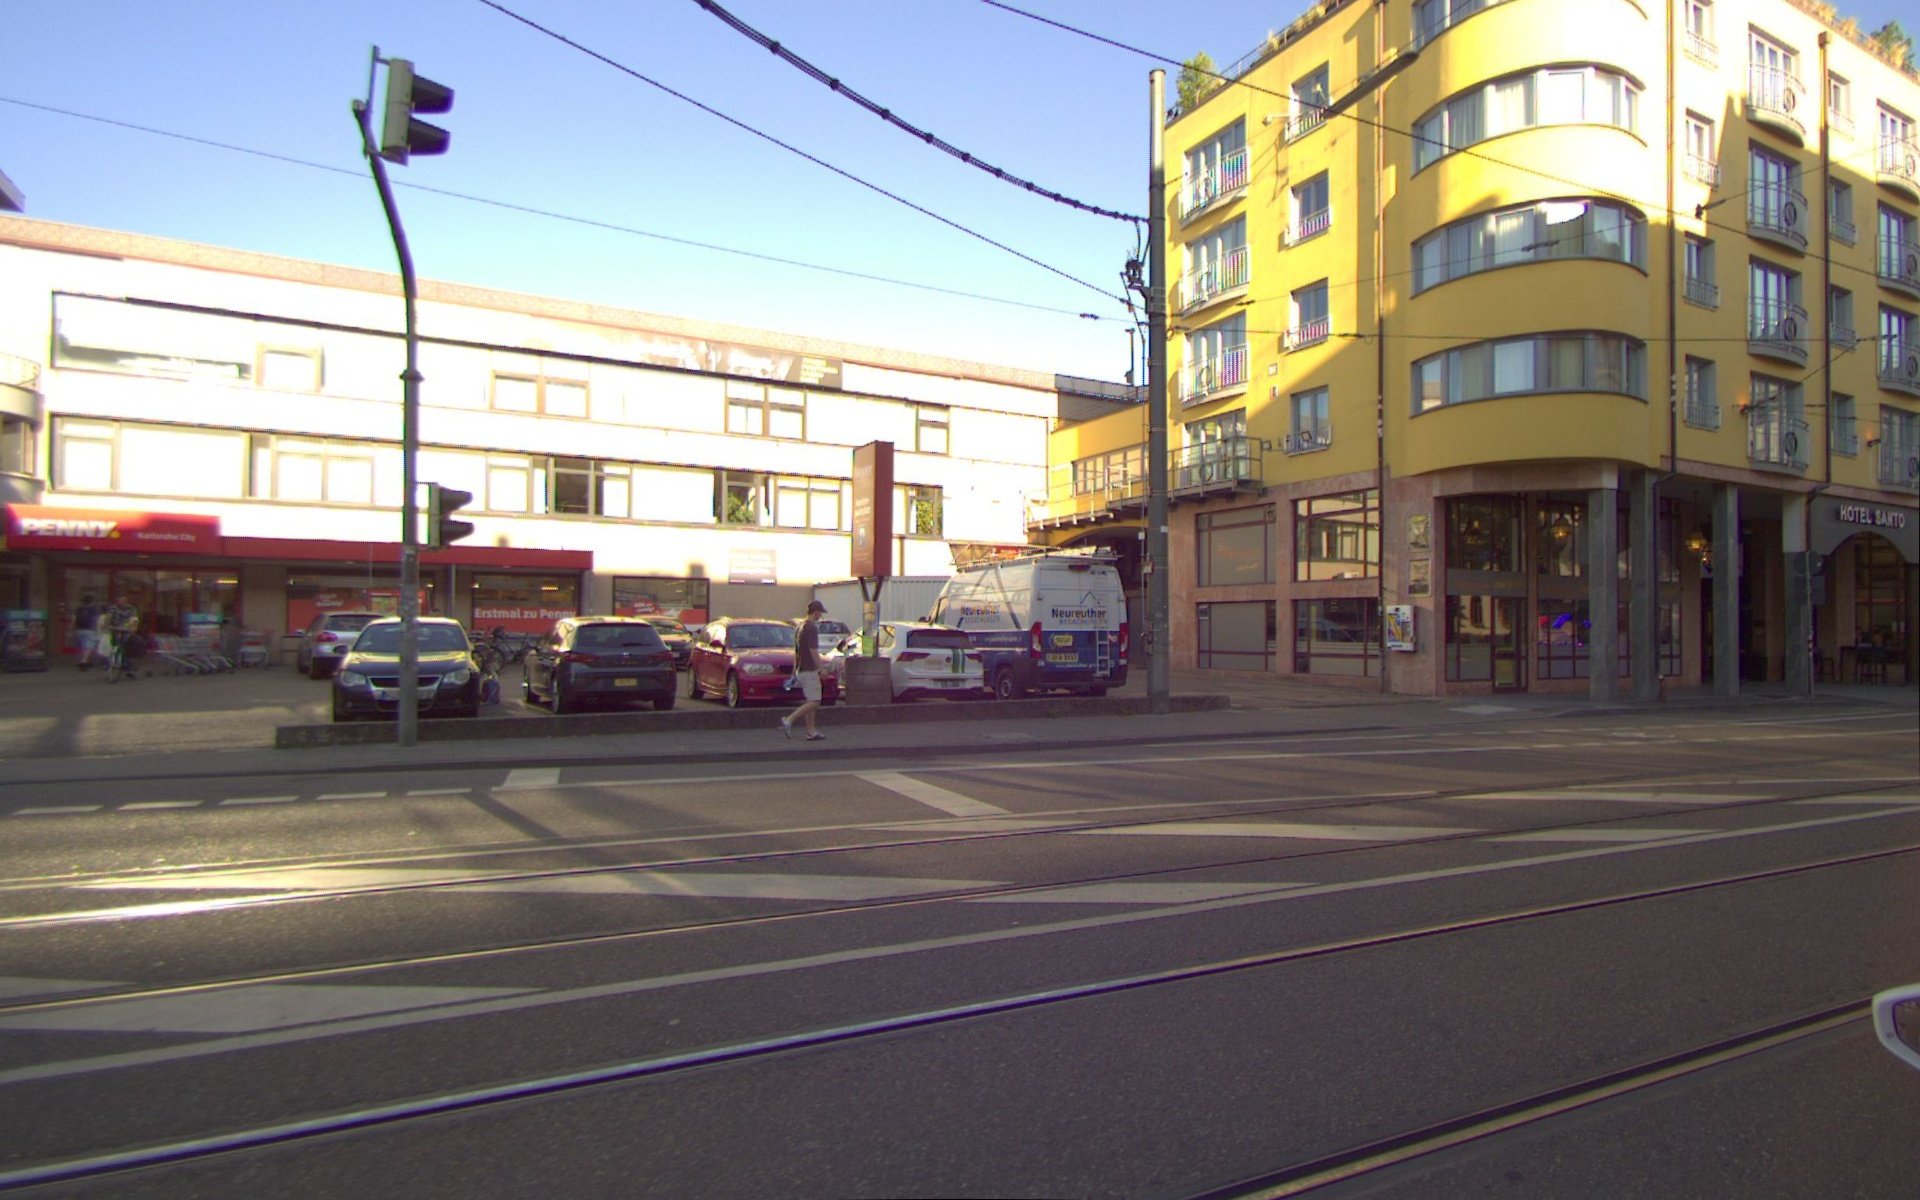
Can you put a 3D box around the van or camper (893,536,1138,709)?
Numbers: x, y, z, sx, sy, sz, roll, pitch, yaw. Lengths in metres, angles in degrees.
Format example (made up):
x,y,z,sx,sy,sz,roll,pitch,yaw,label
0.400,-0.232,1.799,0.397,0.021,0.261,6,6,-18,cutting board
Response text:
x,y,z,sx,sy,sz,roll,pitch,yaw,label
0.847,0.518,19.710,2.285,2.864,5.588,-1,-3,-26,van or camper

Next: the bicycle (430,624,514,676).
x,y,z,sx,sy,sz,roll,pitch,yaw,label
-11.960,1.221,24.675,1.804,1.203,0.431,-1,-2,-21,bicycle

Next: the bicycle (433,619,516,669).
x,y,z,sx,sy,sz,roll,pitch,yaw,label
-12.136,1.099,25.152,1.804,1.203,0.431,-1,-2,-21,bicycle

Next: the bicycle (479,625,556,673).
x,y,z,sx,sy,sz,roll,pitch,yaw,label
-11.609,1.276,26.386,1.804,1.203,0.431,-1,-2,-21,bicycle

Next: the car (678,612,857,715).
x,y,z,sx,sy,sz,roll,pitch,yaw,label
-3.467,1.070,17.345,1.855,1.494,4.574,-1,-3,-27,car

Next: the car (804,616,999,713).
x,y,z,sx,sy,sz,roll,pitch,yaw,label
-1.226,1.151,18.228,1.855,1.494,4.574,-1,-3,-27,car

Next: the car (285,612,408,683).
x,y,z,sx,sy,sz,roll,pitch,yaw,label
-14.493,1.145,23.624,1.864,1.494,4.552,0,-3,-39,car

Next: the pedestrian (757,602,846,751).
x,y,z,sx,sy,sz,roll,pitch,yaw,label
-2.087,0.979,13.203,0.898,1.856,0.830,-1,-3,-28,pedestrian

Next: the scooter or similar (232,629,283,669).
x,y,z,sx,sy,sz,roll,pitch,yaw,label
-17.685,1.225,25.314,0.905,0.974,1.355,0,-2,-30,scooter or similar

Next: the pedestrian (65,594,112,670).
x,y,z,sx,sy,sz,roll,pitch,yaw,label
-20.037,0.743,23.094,0.674,1.719,0.674,-1,-3,-28,pedestrian

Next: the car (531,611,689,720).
x,y,z,sx,sy,sz,roll,pitch,yaw,label
-5.852,1.042,16.419,1.855,1.494,4.574,-1,-3,-27,car

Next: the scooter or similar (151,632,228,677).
x,y,z,sx,sy,sz,roll,pitch,yaw,label
-17.259,1.215,22.540,1.232,0.974,0.909,0,-2,-30,scooter or similar

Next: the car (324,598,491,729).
x,y,z,sx,sy,sz,roll,pitch,yaw,label
-8.088,0.914,14.966,1.855,1.604,4.879,-1,-3,-27,car

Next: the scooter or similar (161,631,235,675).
x,y,z,sx,sy,sz,roll,pitch,yaw,label
-17.710,1.226,23.379,1.232,0.974,0.909,0,-2,-30,scooter or similar

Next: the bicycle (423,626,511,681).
x,y,z,sx,sy,sz,roll,pitch,yaw,label
-11.481,1.237,23.447,1.804,1.203,0.431,-1,-2,-21,bicycle

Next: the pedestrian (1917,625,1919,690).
x,y,z,sx,sy,sz,roll,pitch,yaw,label
27.026,1.597,27.611,0.740,1.795,0.794,-1,2,-28,pedestrian

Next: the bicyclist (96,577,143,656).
x,y,z,sx,sy,sz,roll,pitch,yaw,label
-17.331,0.345,20.705,0.687,1.570,0.827,0,-3,-44,bicyclist

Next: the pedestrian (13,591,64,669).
x,y,z,sx,sy,sz,roll,pitch,yaw,label
-20.775,0.686,22.654,0.694,1.719,0.621,-1,-3,-28,pedestrian

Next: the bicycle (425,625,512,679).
x,y,z,sx,sy,sz,roll,pitch,yaw,label
-11.678,1.227,23.904,1.804,1.203,0.431,-1,-2,-21,bicycle

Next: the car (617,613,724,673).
x,y,z,sx,sy,sz,roll,pitch,yaw,label
-8.026,1.189,27.642,1.976,1.527,3.970,0,-3,-30,car

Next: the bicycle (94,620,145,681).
x,y,z,sx,sy,sz,roll,pitch,yaw,label
-17.296,1.047,20.659,0.678,1.186,1.808,0,-3,-44,bicycle
